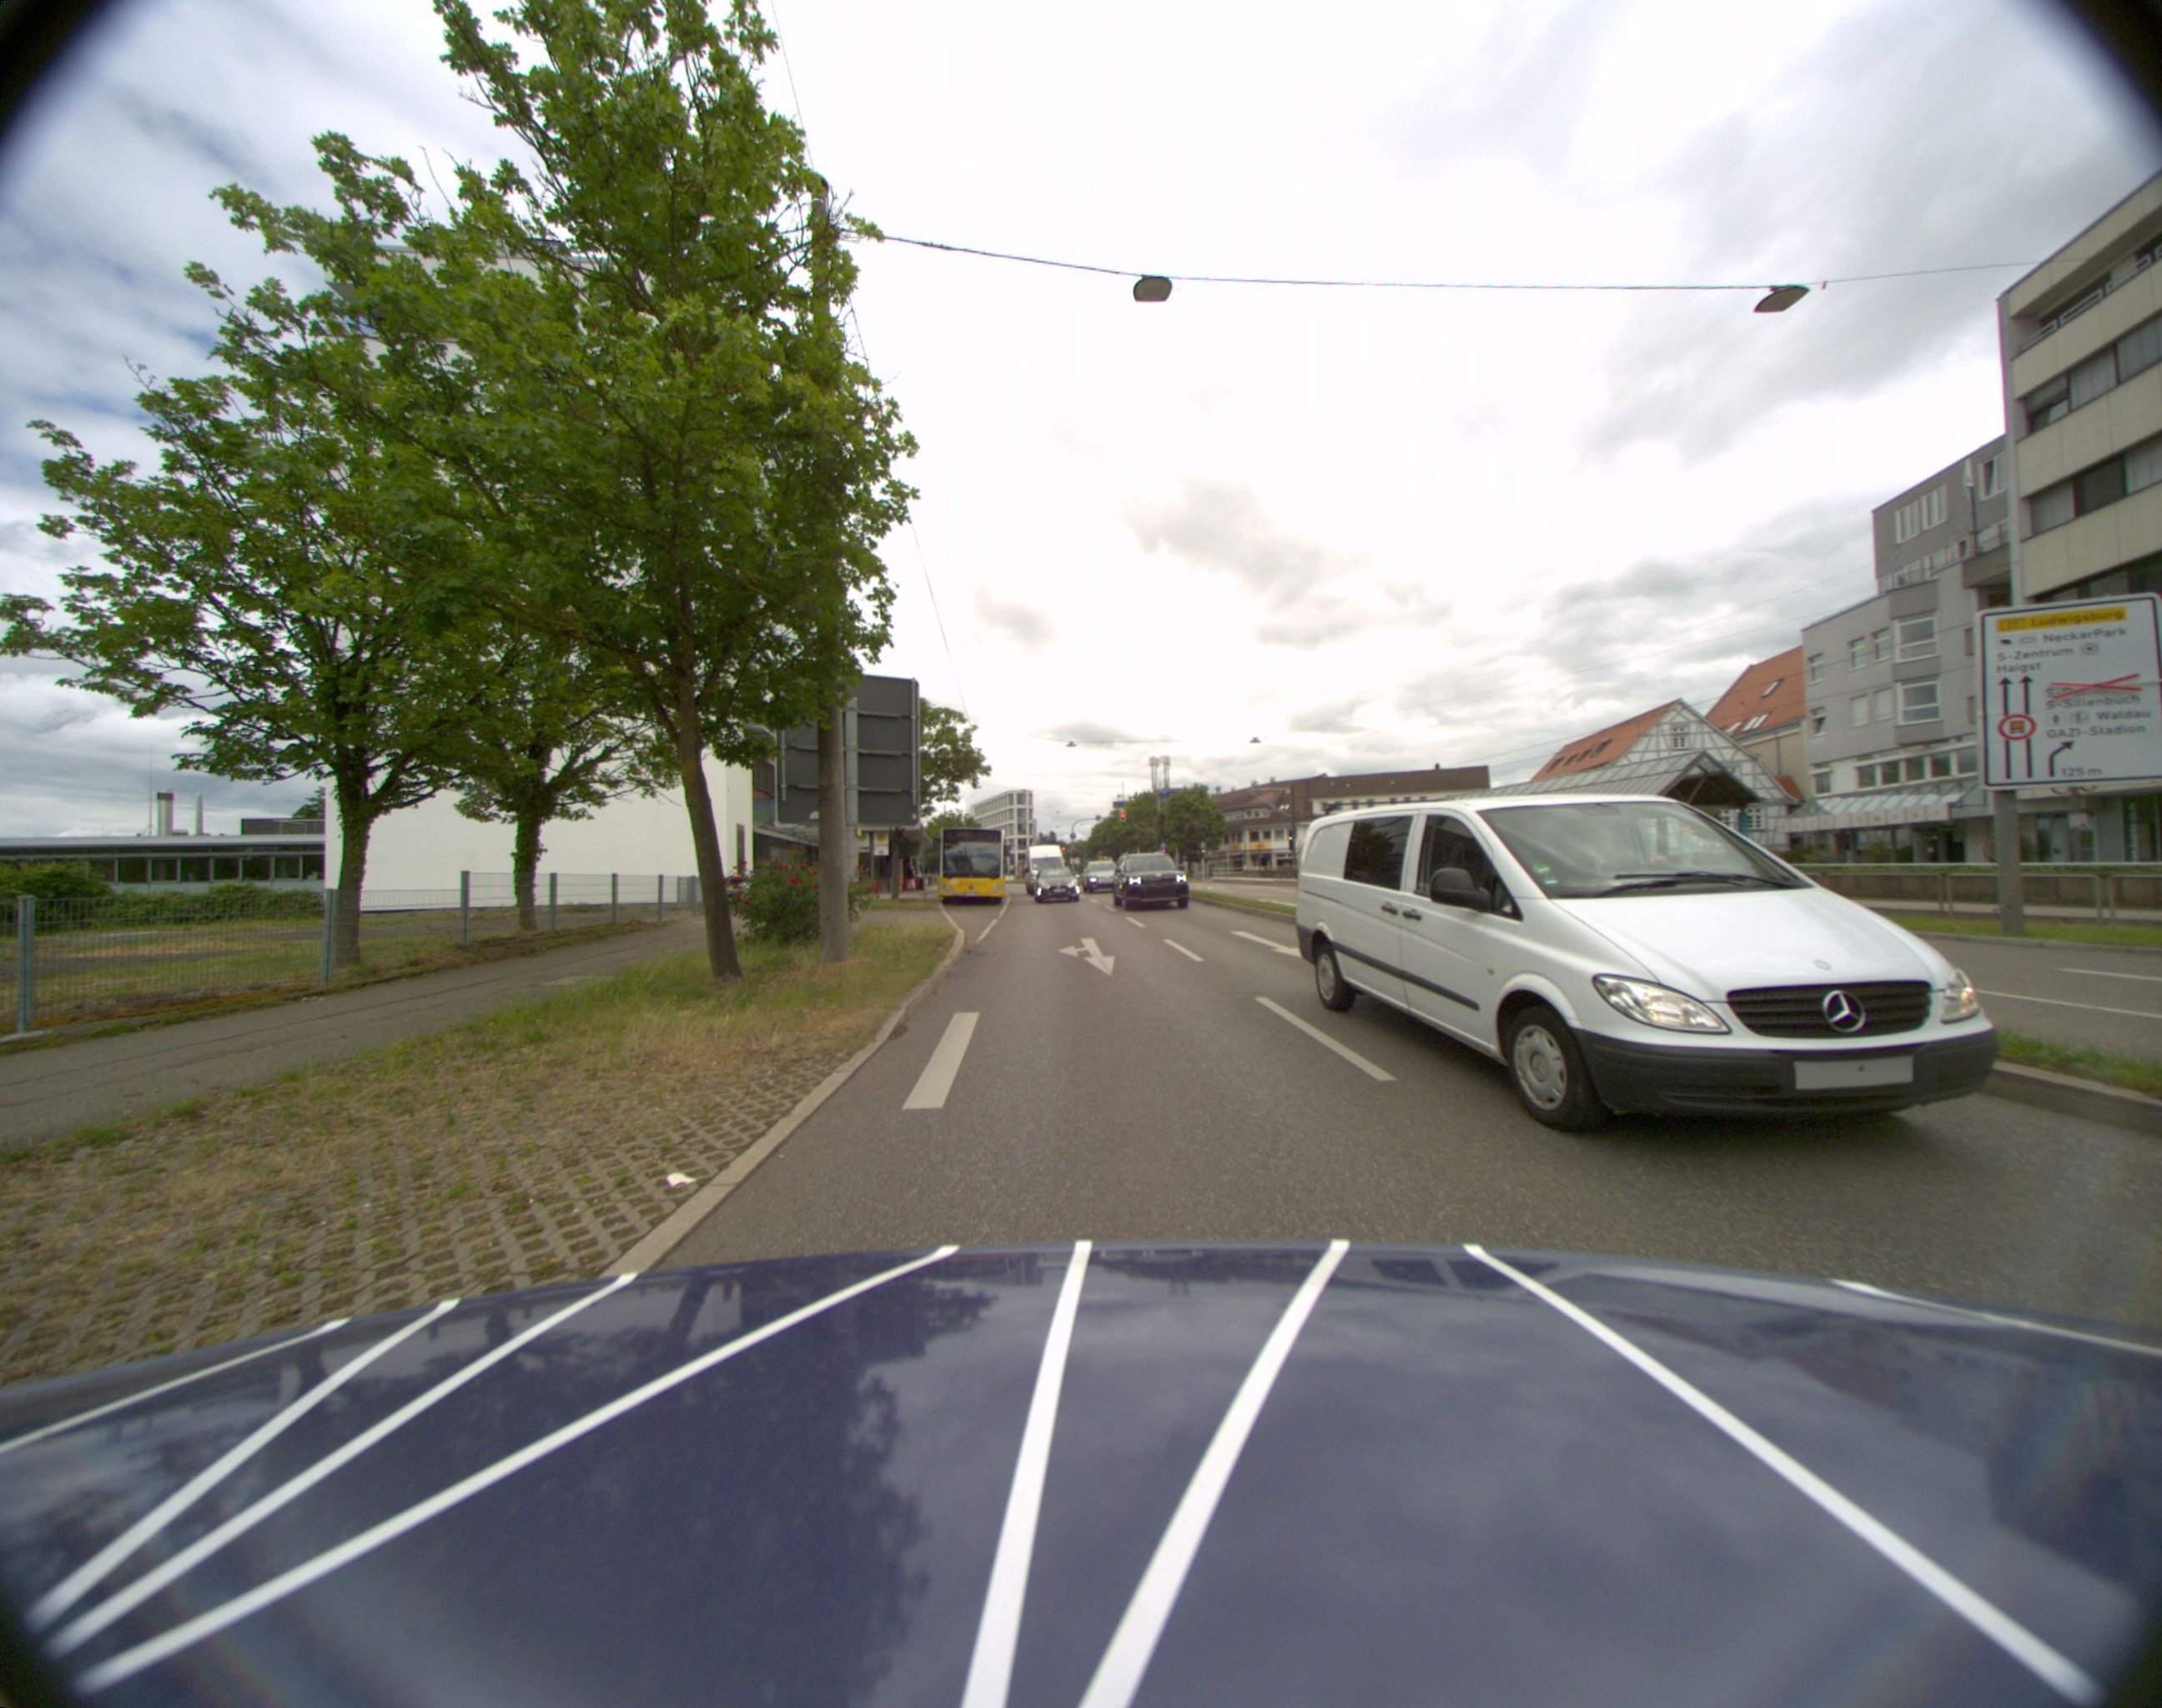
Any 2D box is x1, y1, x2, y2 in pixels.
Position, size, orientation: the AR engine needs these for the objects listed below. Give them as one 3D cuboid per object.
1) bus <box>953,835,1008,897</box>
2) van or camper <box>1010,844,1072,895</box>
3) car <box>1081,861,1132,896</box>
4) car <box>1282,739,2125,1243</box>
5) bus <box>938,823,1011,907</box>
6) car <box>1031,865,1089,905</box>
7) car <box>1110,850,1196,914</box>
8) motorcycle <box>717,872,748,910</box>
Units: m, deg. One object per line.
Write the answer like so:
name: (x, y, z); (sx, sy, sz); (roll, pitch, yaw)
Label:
bus: (-5.444, 0.685, 42.400); (2.720, 3.090, 8.867); (-1, -1, -5)
van or camper: (-2.423, 0.889, 43.635); (2.282, 2.690, 6.988); (-1, -1, -14)
car: (1.273, 1.253, 39.968); (1.999, 1.640, 4.392); (-3, 0, -6)
car: (3.227, 0.589, 5.625); (1.879, 2.001, 5.075); (-1, -1, -3)
bus: (-4.516, 0.507, 33.410); (2.720, 3.144, 9.124); (1, -1, -6)
car: (-0.925, 1.252, 31.566); (1.865, 1.516, 3.997); (-1, -1, -9)
car: (2.163, 0.844, 24.189); (1.928, 1.741, 4.677); (-3, -1, -4)
motorcycle: (-11.608, 1.211, 25.286); (0.585, 1.214, 1.577); (-1, 0, -37)
